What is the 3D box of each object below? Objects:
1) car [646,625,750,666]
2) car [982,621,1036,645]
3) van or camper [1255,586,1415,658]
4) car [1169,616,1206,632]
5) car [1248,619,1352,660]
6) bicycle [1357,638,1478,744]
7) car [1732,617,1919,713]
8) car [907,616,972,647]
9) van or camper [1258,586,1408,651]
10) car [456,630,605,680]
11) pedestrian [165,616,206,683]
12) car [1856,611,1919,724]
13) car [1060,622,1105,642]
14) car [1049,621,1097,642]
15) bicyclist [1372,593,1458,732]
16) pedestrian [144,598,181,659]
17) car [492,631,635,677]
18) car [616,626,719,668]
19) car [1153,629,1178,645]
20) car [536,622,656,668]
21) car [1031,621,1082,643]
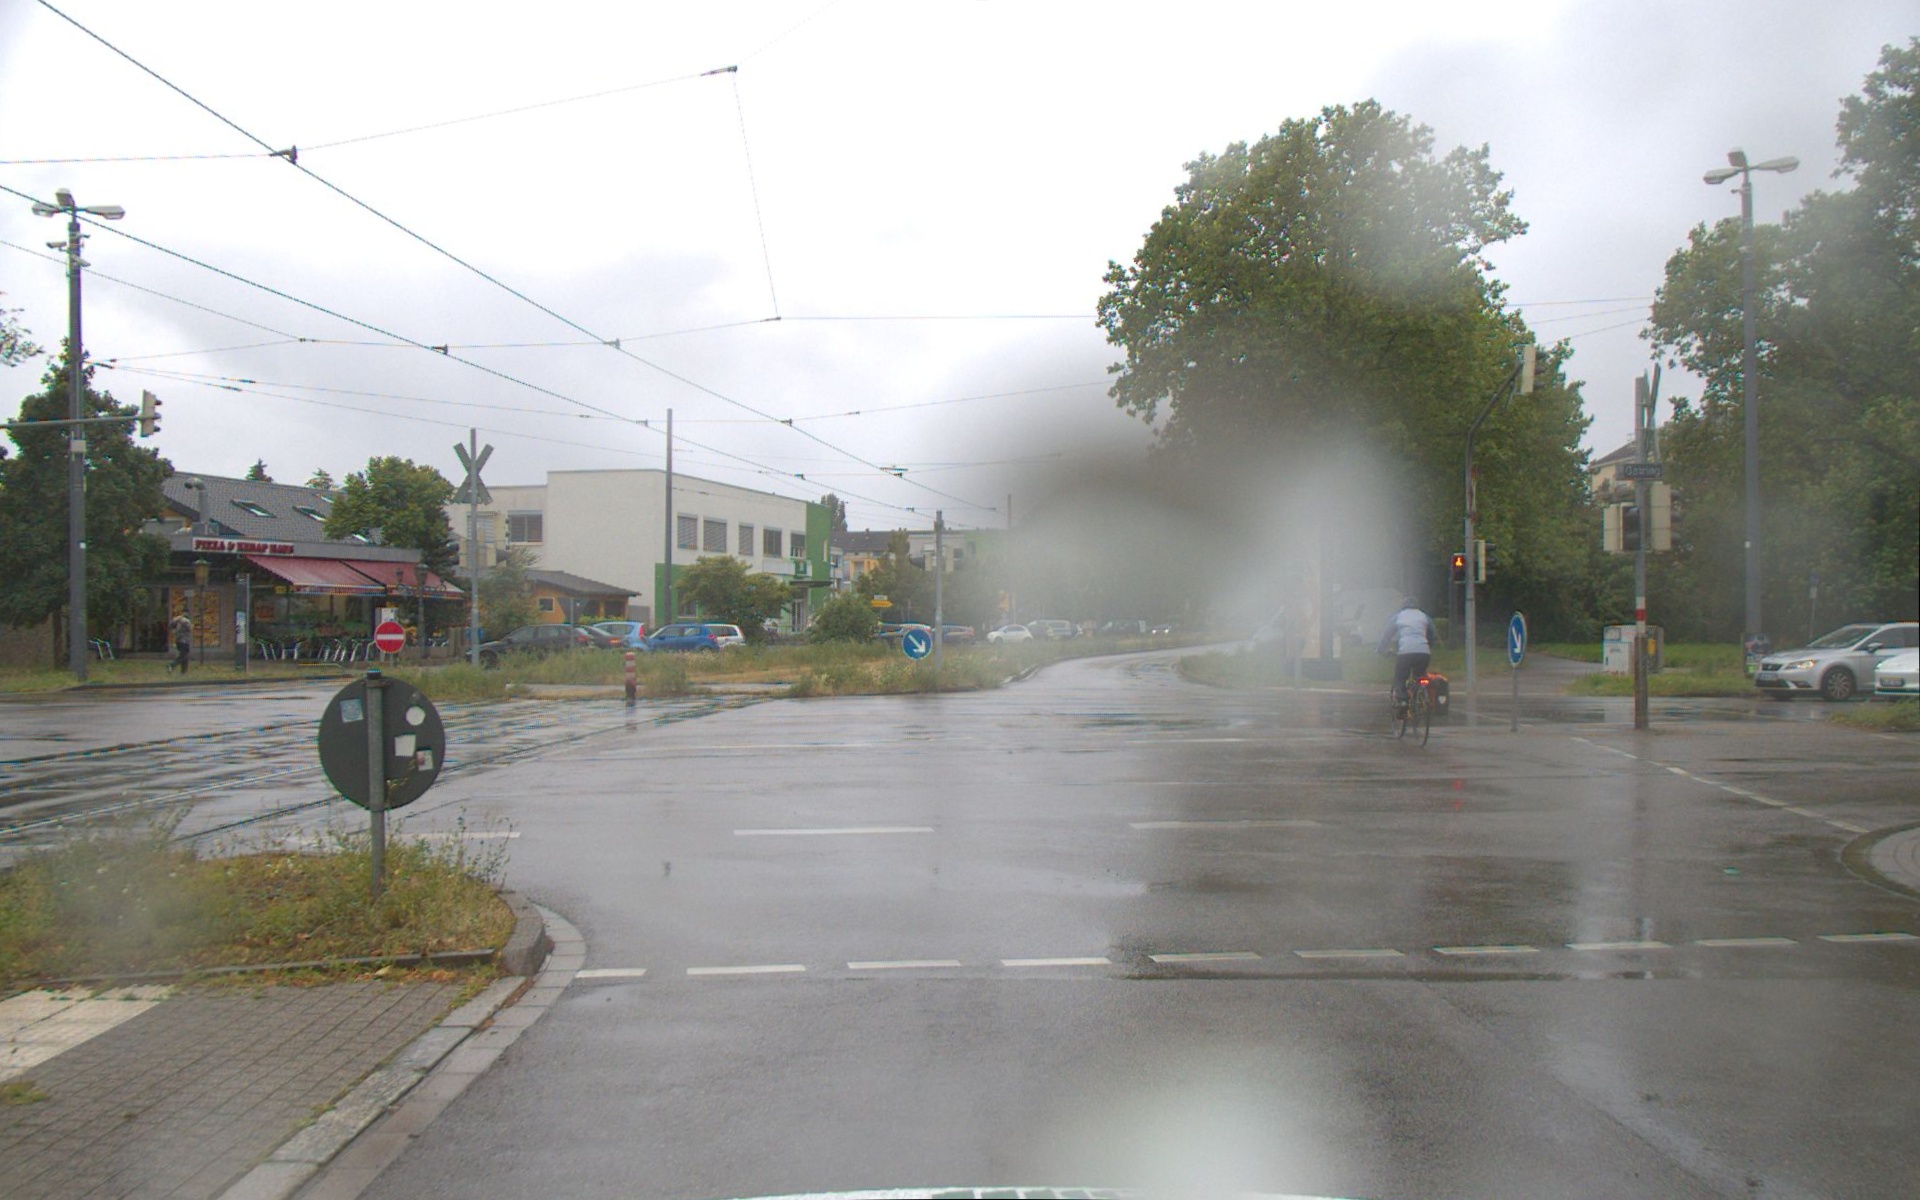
[{"bbox_3d":[-10.843,1.873,68.431,4.043,1.670,1.921,0,-1,-17],"label":"car"},{"bbox_3d":[3.650,2.476,123.089,3.709,1.732,1.831,1,-1,-13],"label":"car"},{"bbox_3d":[17.638,1.028,77.653,7.167,3.234,3.264,1,-1,15],"label":"van or camper"},{"bbox_3d":[26.975,2.821,196.346,3.911,1.864,1.997,1,-1,-8],"label":"car"},{"bbox_3d":[15.333,1.771,74.534,4.351,1.747,2.001,1,-1,18],"label":"car"},{"bbox_3d":[5.166,1.004,18.775,0.677,1.136,1.882,1,-2,-6],"label":"bicycle"},{"bbox_3d":[17.206,1.234,31.402,4.312,1.721,1.930,1,-1,-9],"label":"car"},{"bbox_3d":[-1.335,2.039,106.103,3.914,1.921,1.995,1,-1,-10],"label":"car"},{"bbox_3d":[19.521,0.949,86.461,7.271,3.234,3.263,1,-1,20],"label":"van or camper"},{"bbox_3d":[-14.057,1.788,54.290,4.387,1.443,1.858,-2,-1,-2],"label":"car"},{"bbox_3d":[-21.818,1.383,46.600,0.710,1.829,0.885,2,-1,-6],"label":"pedestrian"},{"bbox_3d":[17.867,1.161,28.032,4.508,1.860,1.930,1,-1,-9],"label":"car"},{"bbox_3d":[11.534,2.998,155.688,3.911,1.864,1.997,1,-1,-8],"label":"car"},{"bbox_3d":[10.251,2.876,150.546,3.919,1.864,1.993,1,-1,-14],"label":"car"},{"bbox_3d":[5.166,0.707,18.792,0.677,1.532,0.843,1,-2,-6],"label":"bicyclist"},{"bbox_3d":[-26.710,0.955,55.407,0.775,2.049,0.726,0,-1,20],"label":"pedestrian"},{"bbox_3d":[-13.527,1.835,56.605,4.406,1.443,1.858,-2,-1,-2],"label":"car"},{"bbox_3d":[-11.550,1.828,65.224,3.919,1.610,1.923,0,-1,-14],"label":"car"},{"bbox_3d":[22.692,4.062,182.627,1.851,1.691,4.000,1,-1,20],"label":"car"},{"bbox_3d":[-13.182,1.627,60.102,3.904,1.610,1.859,0,-1,2],"label":"car"},{"bbox_3d":[8.242,2.703,141.411,3.919,1.789,2.003,1,-1,-14],"label":"car"}]
